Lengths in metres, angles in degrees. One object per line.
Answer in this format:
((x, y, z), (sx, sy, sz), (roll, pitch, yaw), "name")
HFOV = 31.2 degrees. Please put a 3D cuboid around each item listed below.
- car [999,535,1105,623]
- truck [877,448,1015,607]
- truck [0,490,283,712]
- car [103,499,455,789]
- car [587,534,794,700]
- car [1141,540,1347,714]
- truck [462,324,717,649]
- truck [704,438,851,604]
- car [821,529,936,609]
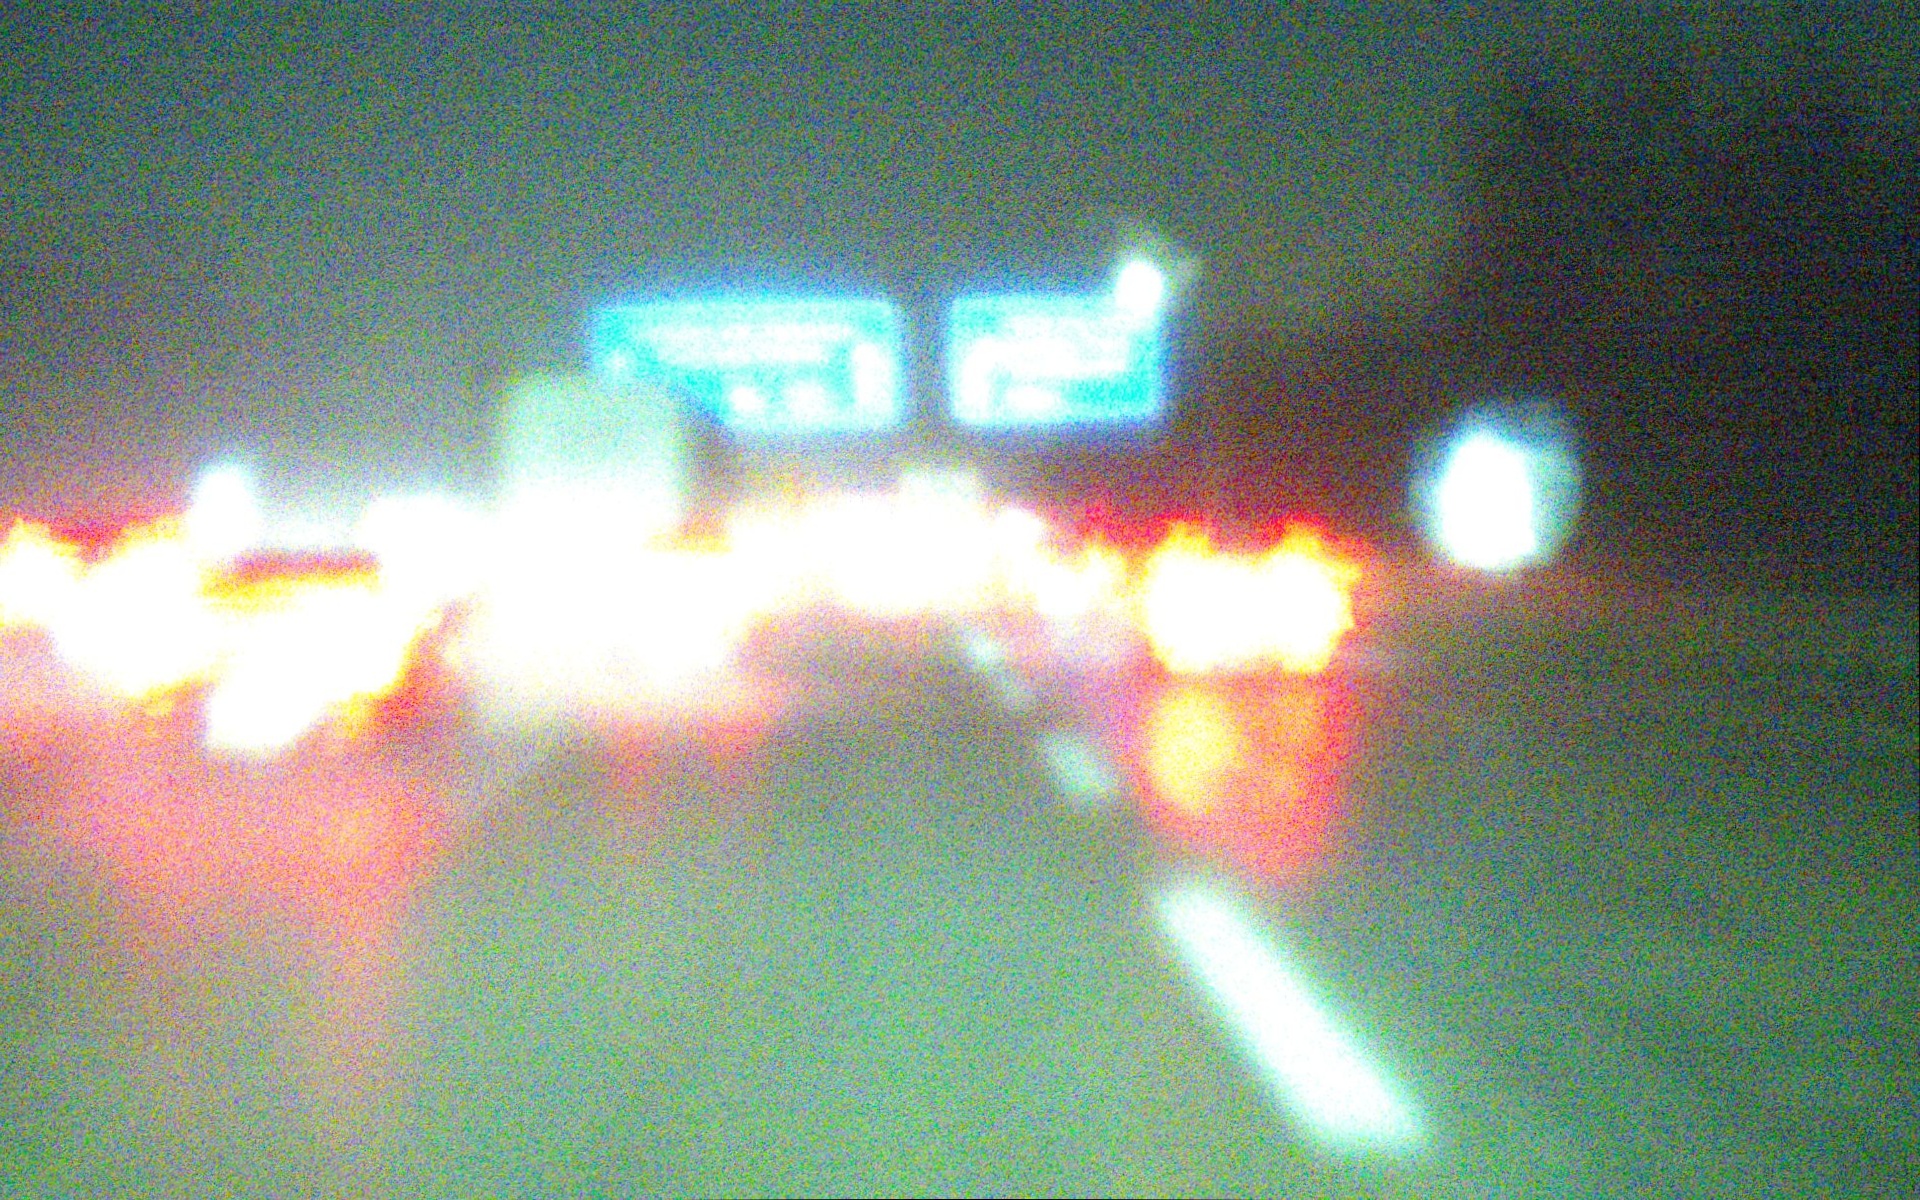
((1.840, -0.439, 70.300), (1.993, 1.698, 4.458), (1, 1, 0), "car")
((-0.575, -2.445, 118.346), (4.161, 5.197, 9.955), (1, 1, -3), "truck")
((-9.200, -0.030, 37.258), (2.857, 2.193, 5.859), (1, 1, -3), "truck")
((-4.271, 0.209, 22.091), (1.765, 1.683, 4.001), (0, 1, -5), "car")
((-3.016, 0.160, 39.336), (2.039, 1.755, 4.516), (1, 1, -1), "car")
((3.030, 0.257, 37.401), (1.878, 1.756, 4.000), (1, 1, 0), "car")
((-5.852, -1.728, 55.547), (3.655, 4.721, 9.854), (1, 1, -5), "truck")
((-6.214, -2.675, 119.393), (4.254, 5.425, 10.884), (1, 1, 1), "truck")
((-2.086, -0.817, 89.978), (2.833, 2.007, 5.510), (1, 1, 0), "car")
